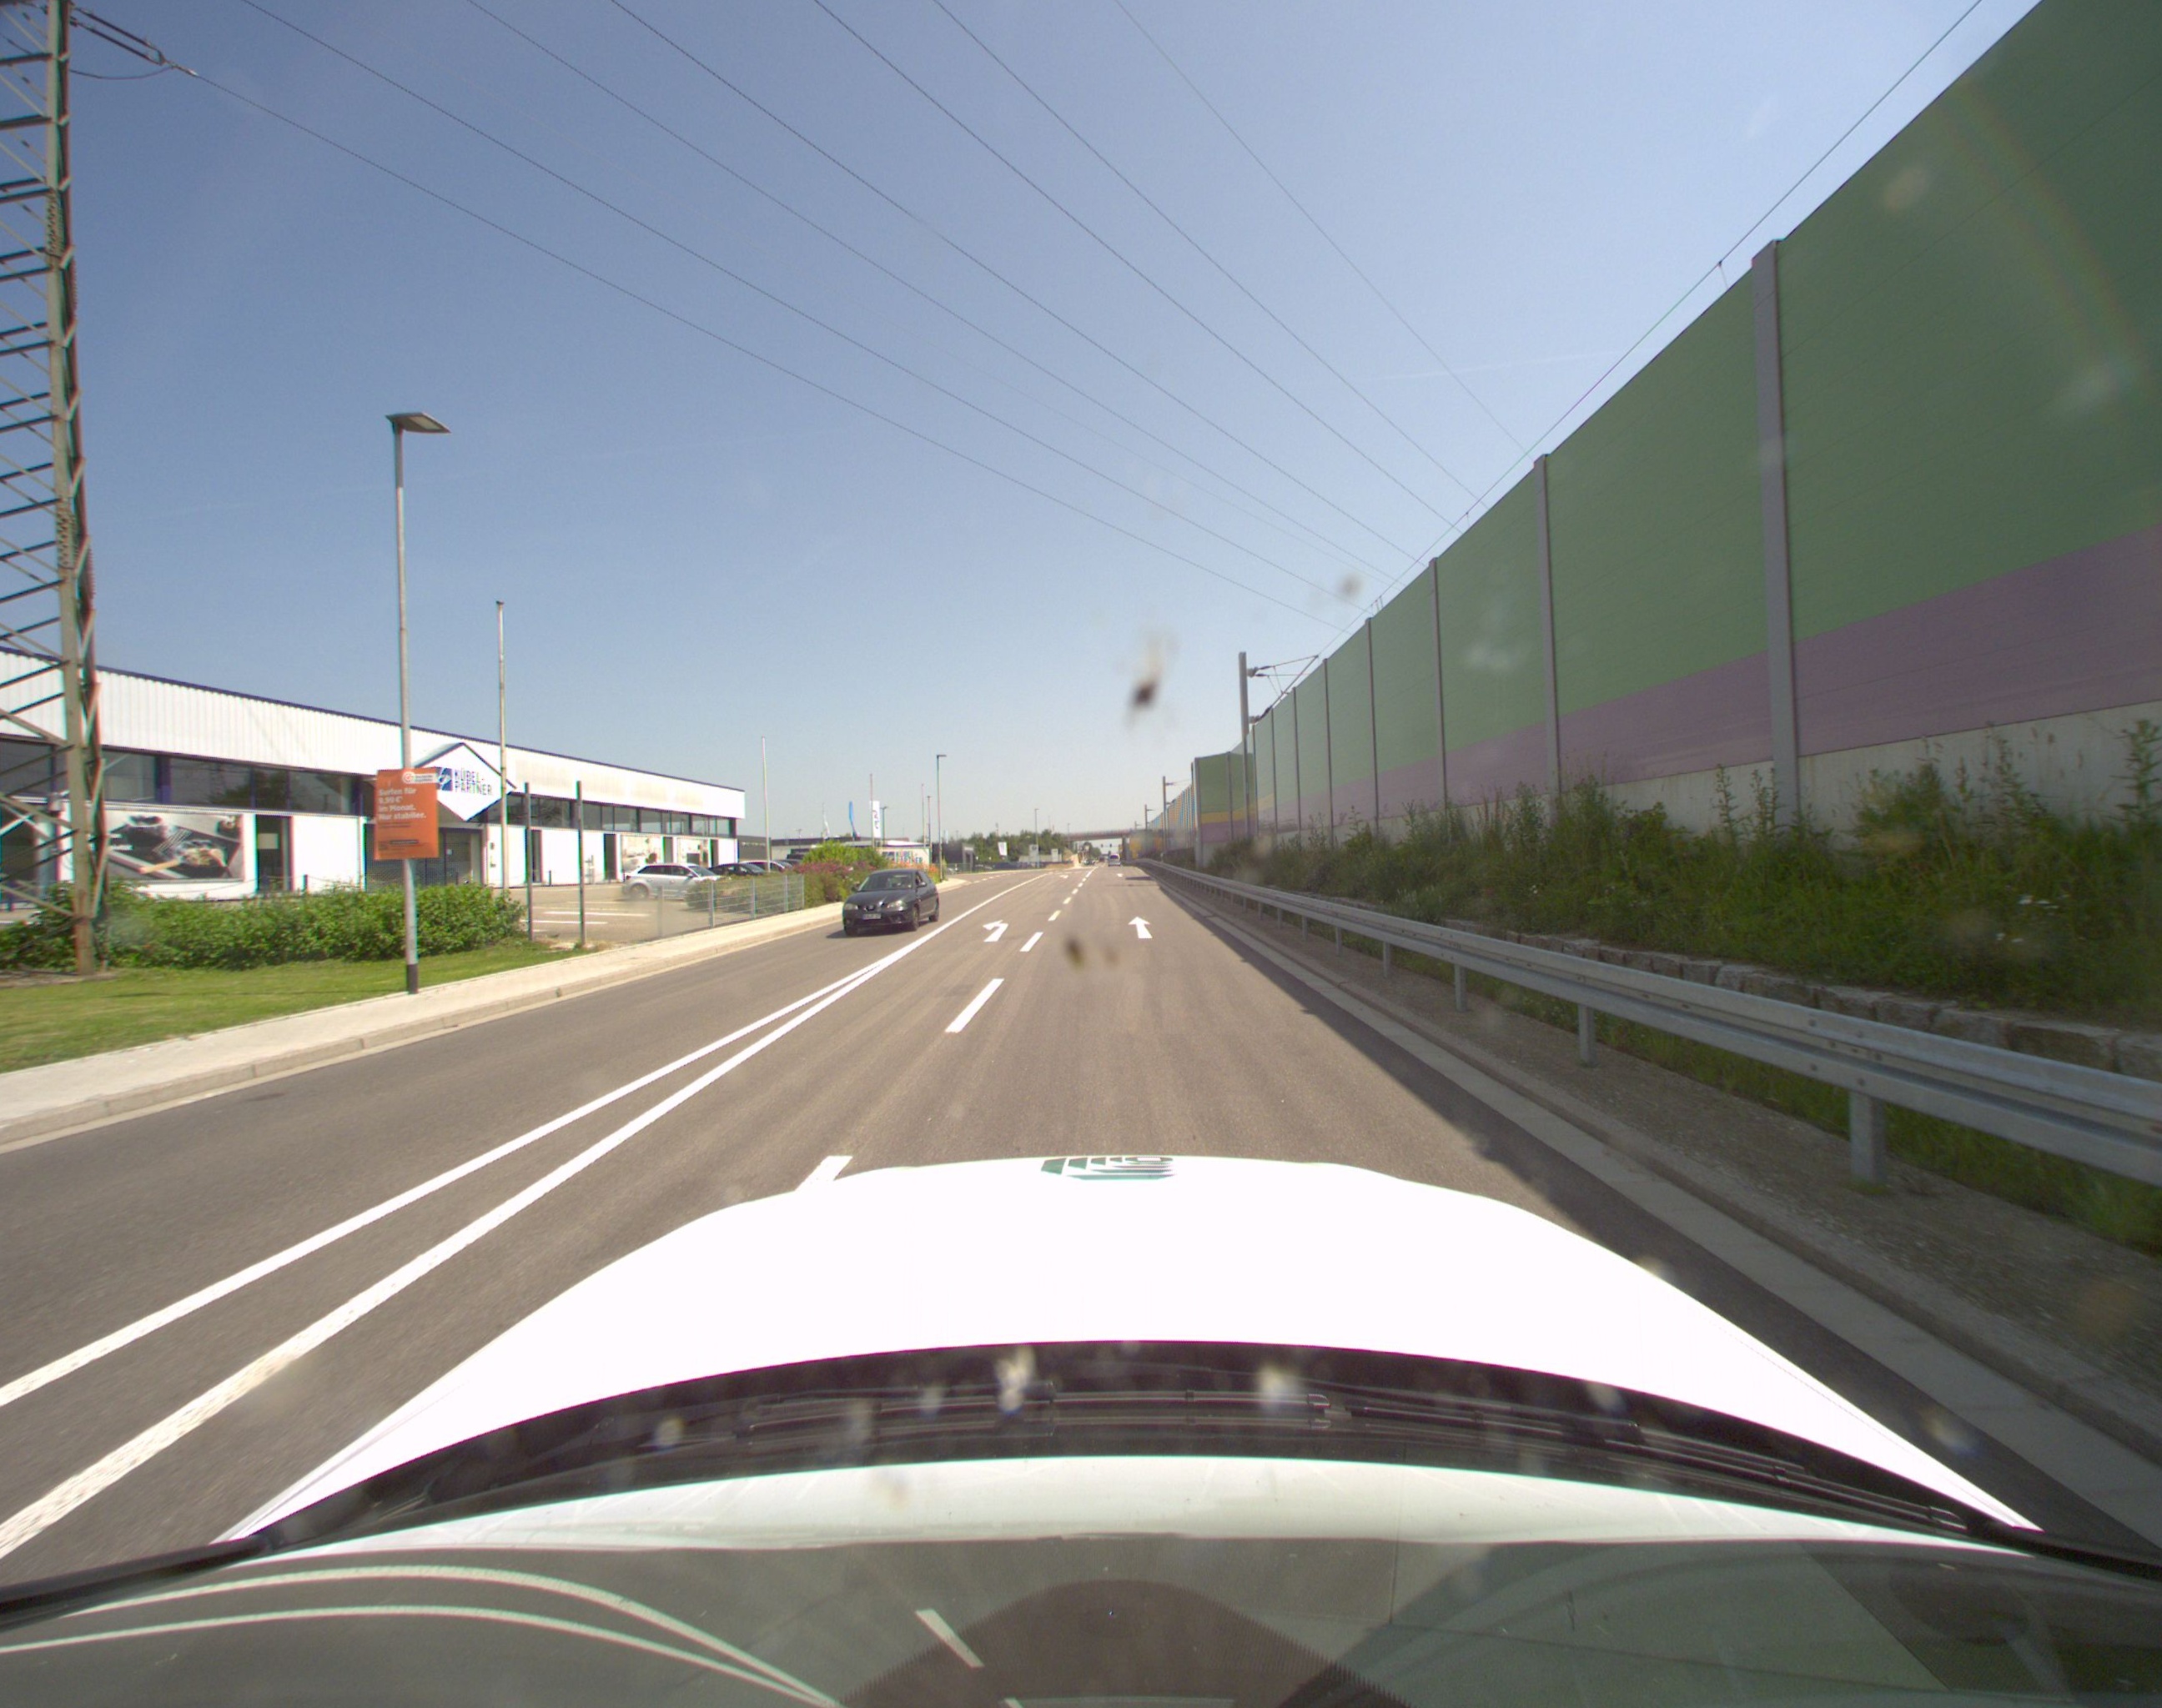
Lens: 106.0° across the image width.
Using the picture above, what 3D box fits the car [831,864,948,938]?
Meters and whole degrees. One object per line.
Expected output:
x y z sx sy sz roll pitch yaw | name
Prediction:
-4.470 1.051 19.638 1.664 1.423 4.001 -4 0 2 | car

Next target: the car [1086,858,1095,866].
2.198 1.809 185.542 1.870 1.673 4.293 -3 0 2 | car

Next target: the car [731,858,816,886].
-14.821 0.859 39.315 3.498 1.254 1.504 0 0 0 | car

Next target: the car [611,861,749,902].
-14.865 1.002 30.335 4.210 1.456 1.764 0 0 0 | car

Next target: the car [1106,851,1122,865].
4.694 0.554 115.204 1.985 1.757 4.004 -2 0 4 | car
